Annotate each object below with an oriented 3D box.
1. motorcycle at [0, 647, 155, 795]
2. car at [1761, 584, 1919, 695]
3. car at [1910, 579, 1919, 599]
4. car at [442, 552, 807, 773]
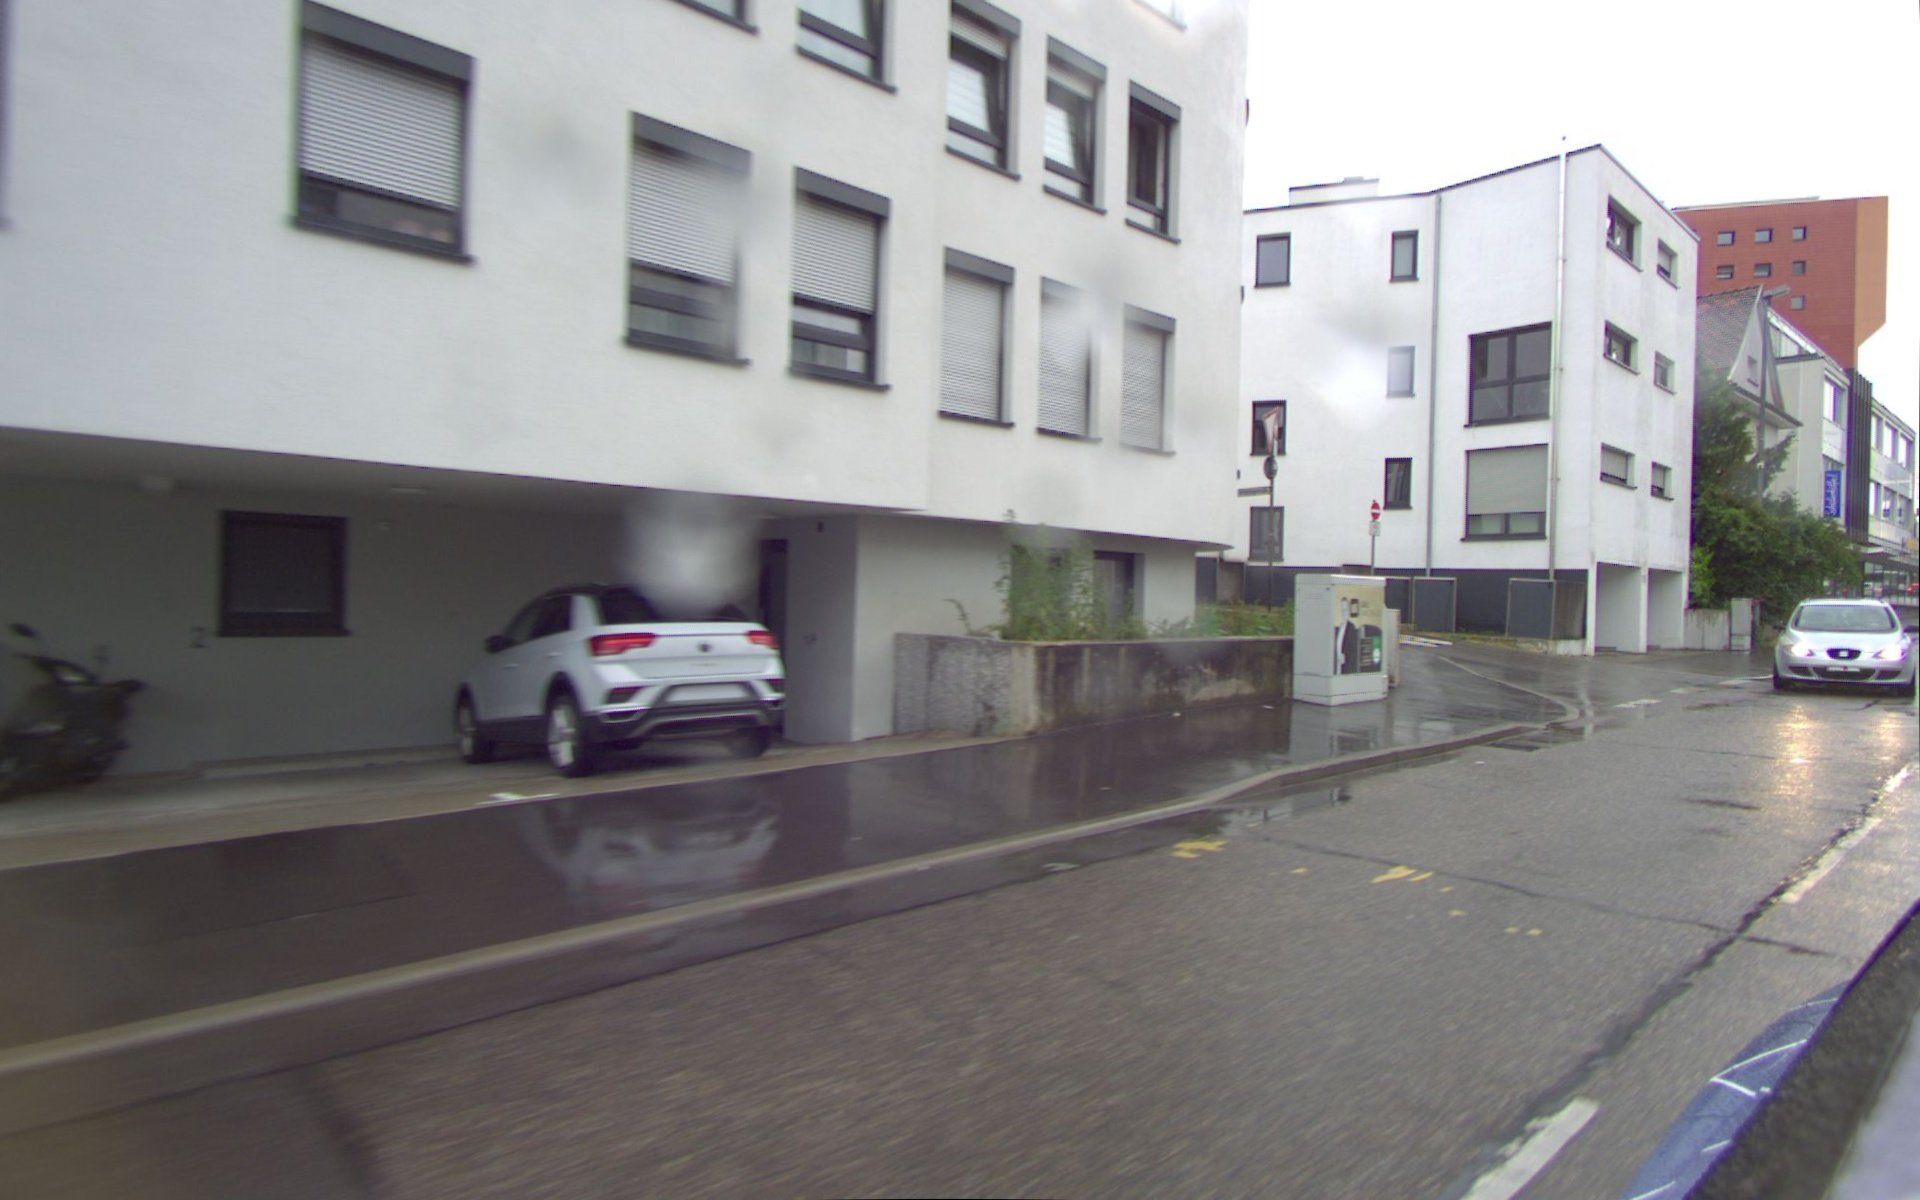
[{"bbox_3d":[-7.200,0.955,8.215,0.436,1.086,1.448,0,-5,-13],"label":"motorcycle"},{"bbox_3d":[15.262,0.566,17.197,4.288,1.642,2.013,0,1,-43],"label":"car"},{"bbox_3d":[72.167,-0.793,74.769,1.596,1.479,3.403,1,3,20],"label":"car"},{"bbox_3d":[-3.194,0.600,9.150,1.788,1.550,3.795,1,-5,-41],"label":"car"}]
